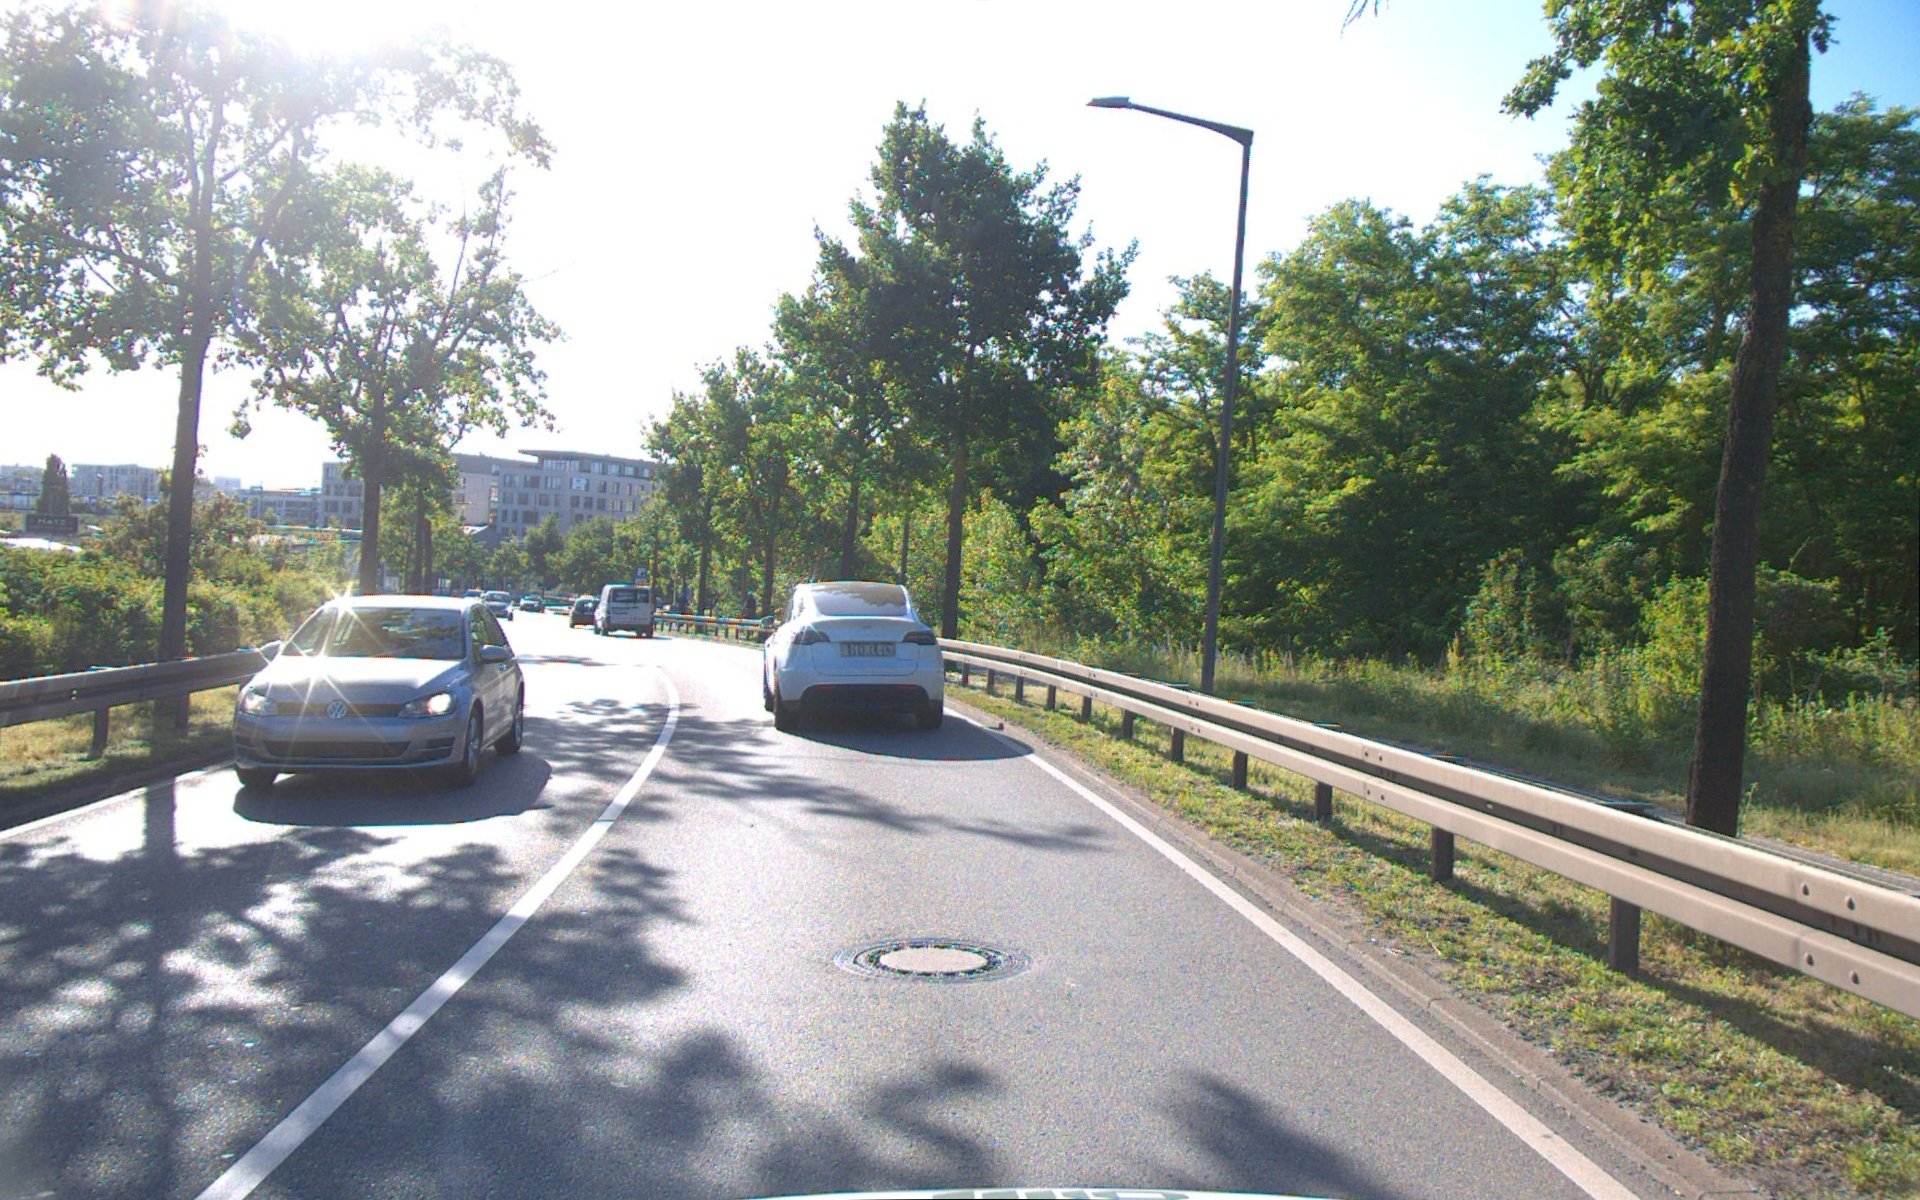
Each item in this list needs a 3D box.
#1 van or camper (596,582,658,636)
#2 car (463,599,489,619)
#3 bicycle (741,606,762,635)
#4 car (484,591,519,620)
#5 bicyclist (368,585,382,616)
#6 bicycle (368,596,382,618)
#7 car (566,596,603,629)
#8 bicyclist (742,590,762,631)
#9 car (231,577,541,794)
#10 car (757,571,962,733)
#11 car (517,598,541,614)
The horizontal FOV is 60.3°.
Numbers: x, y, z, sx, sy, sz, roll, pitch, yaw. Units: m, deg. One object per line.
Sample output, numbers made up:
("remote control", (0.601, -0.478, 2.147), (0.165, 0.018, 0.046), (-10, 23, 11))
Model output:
("van or camper", (-12.719, 0.328, 62.934), (1.926, 1.917, 4.859), (2, 0, -16))
("car", (-39.351, 0.697, 134.540), (1.821, 1.518, 4.691), (2, 0, -19))
("bicycle", (-8.316, 0.826, 65.971), (0.687, 1.093, 1.919), (2, -2, -5))
("car", (-26.413, 0.320, 95.236), (1.780, 1.581, 4.120), (2, 0, -17))
("bicyclist", (-31.328, 0.020, 88.636), (0.641, 1.652, 0.869), (2, -1, -19))
("bicycle", (-31.337, 0.380, 88.634), (0.650, 1.114, 2.097), (2, 0, -19))
("car", (-17.892, 0.586, 78.666), (1.577, 1.459, 3.665), (4, -1, -14))
("bicyclist", (-8.304, 0.422, 65.997), (0.693, 1.606, 1.003), (2, -2, -5))
("car", (-4.675, 0.634, 14.037), (1.663, 1.545, 3.974), (2, 0, -8))
("car", (-1.315, 0.556, 19.585), (1.879, 1.669, 4.399), (2, 0, -10))
("car", (-40.690, 0.554, 156.263), (1.659, 1.466, 4.208), (2, 0, -8))
